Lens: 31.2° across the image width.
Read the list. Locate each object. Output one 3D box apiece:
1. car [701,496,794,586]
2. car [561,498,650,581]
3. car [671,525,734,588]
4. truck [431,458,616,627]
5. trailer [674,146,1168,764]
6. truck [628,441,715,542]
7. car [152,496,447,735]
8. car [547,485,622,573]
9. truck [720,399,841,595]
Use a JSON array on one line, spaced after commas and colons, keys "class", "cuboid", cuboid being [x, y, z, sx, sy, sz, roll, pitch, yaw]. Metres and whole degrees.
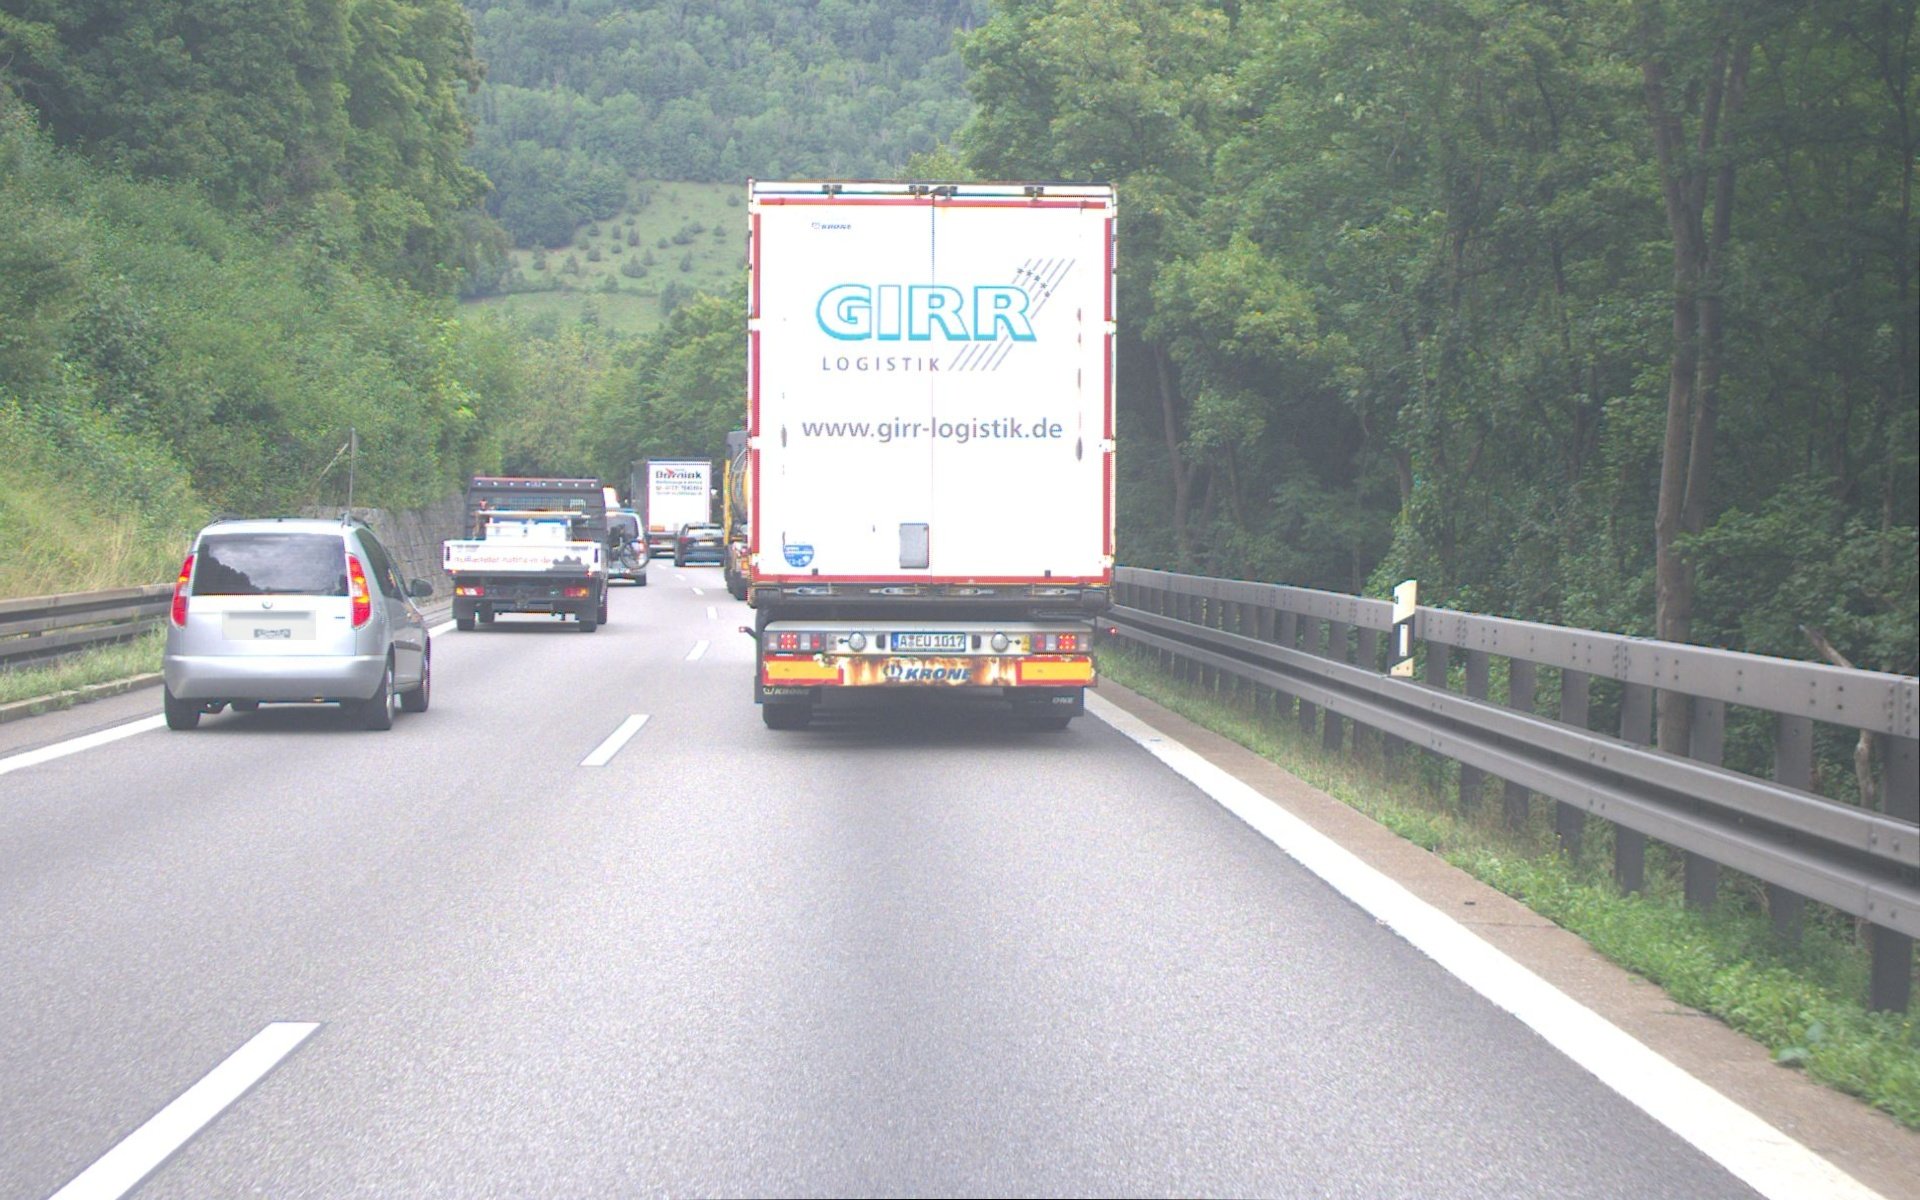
[{"class": "car", "cuboid": [-5.104, -1.411, 82.139, 1.993, 2.007, 4.334, 2, 1, -6]}, {"class": "car", "cuboid": [-8.845, -1.539, 86.080, 2.018, 1.907, 5.564, 2, 1, -4]}, {"class": "car", "cuboid": [-8.642, -1.456, 115.364, 1.993, 2.007, 4.001, 2, 1, -4]}, {"class": "truck", "cuboid": [-6.453, -0.882, 51.552, 2.349, 2.266, 6.851, 2, 1, -5]}, {"class": "trailer", "cuboid": [-0.505, -1.110, 28.230, 3.132, 4.029, 9.441, 4, 1, -3]}, {"class": "truck", "cuboid": [-11.763, -4.336, 139.632, 3.068, 3.864, 8.460, 2, 1, -7]}, {"class": "car", "cuboid": [-5.164, 0.069, 27.370, 1.634, 1.720, 4.345, 1, 1, -2]}, {"class": "car", "cuboid": [-11.581, -2.210, 106.368, 2.123, 2.589, 5.564, 1, 1, -5]}, {"class": "truck", "cuboid": [-3.719, -2.085, 71.426, 2.233, 3.791, 6.824, 2, 1, -3]}]
